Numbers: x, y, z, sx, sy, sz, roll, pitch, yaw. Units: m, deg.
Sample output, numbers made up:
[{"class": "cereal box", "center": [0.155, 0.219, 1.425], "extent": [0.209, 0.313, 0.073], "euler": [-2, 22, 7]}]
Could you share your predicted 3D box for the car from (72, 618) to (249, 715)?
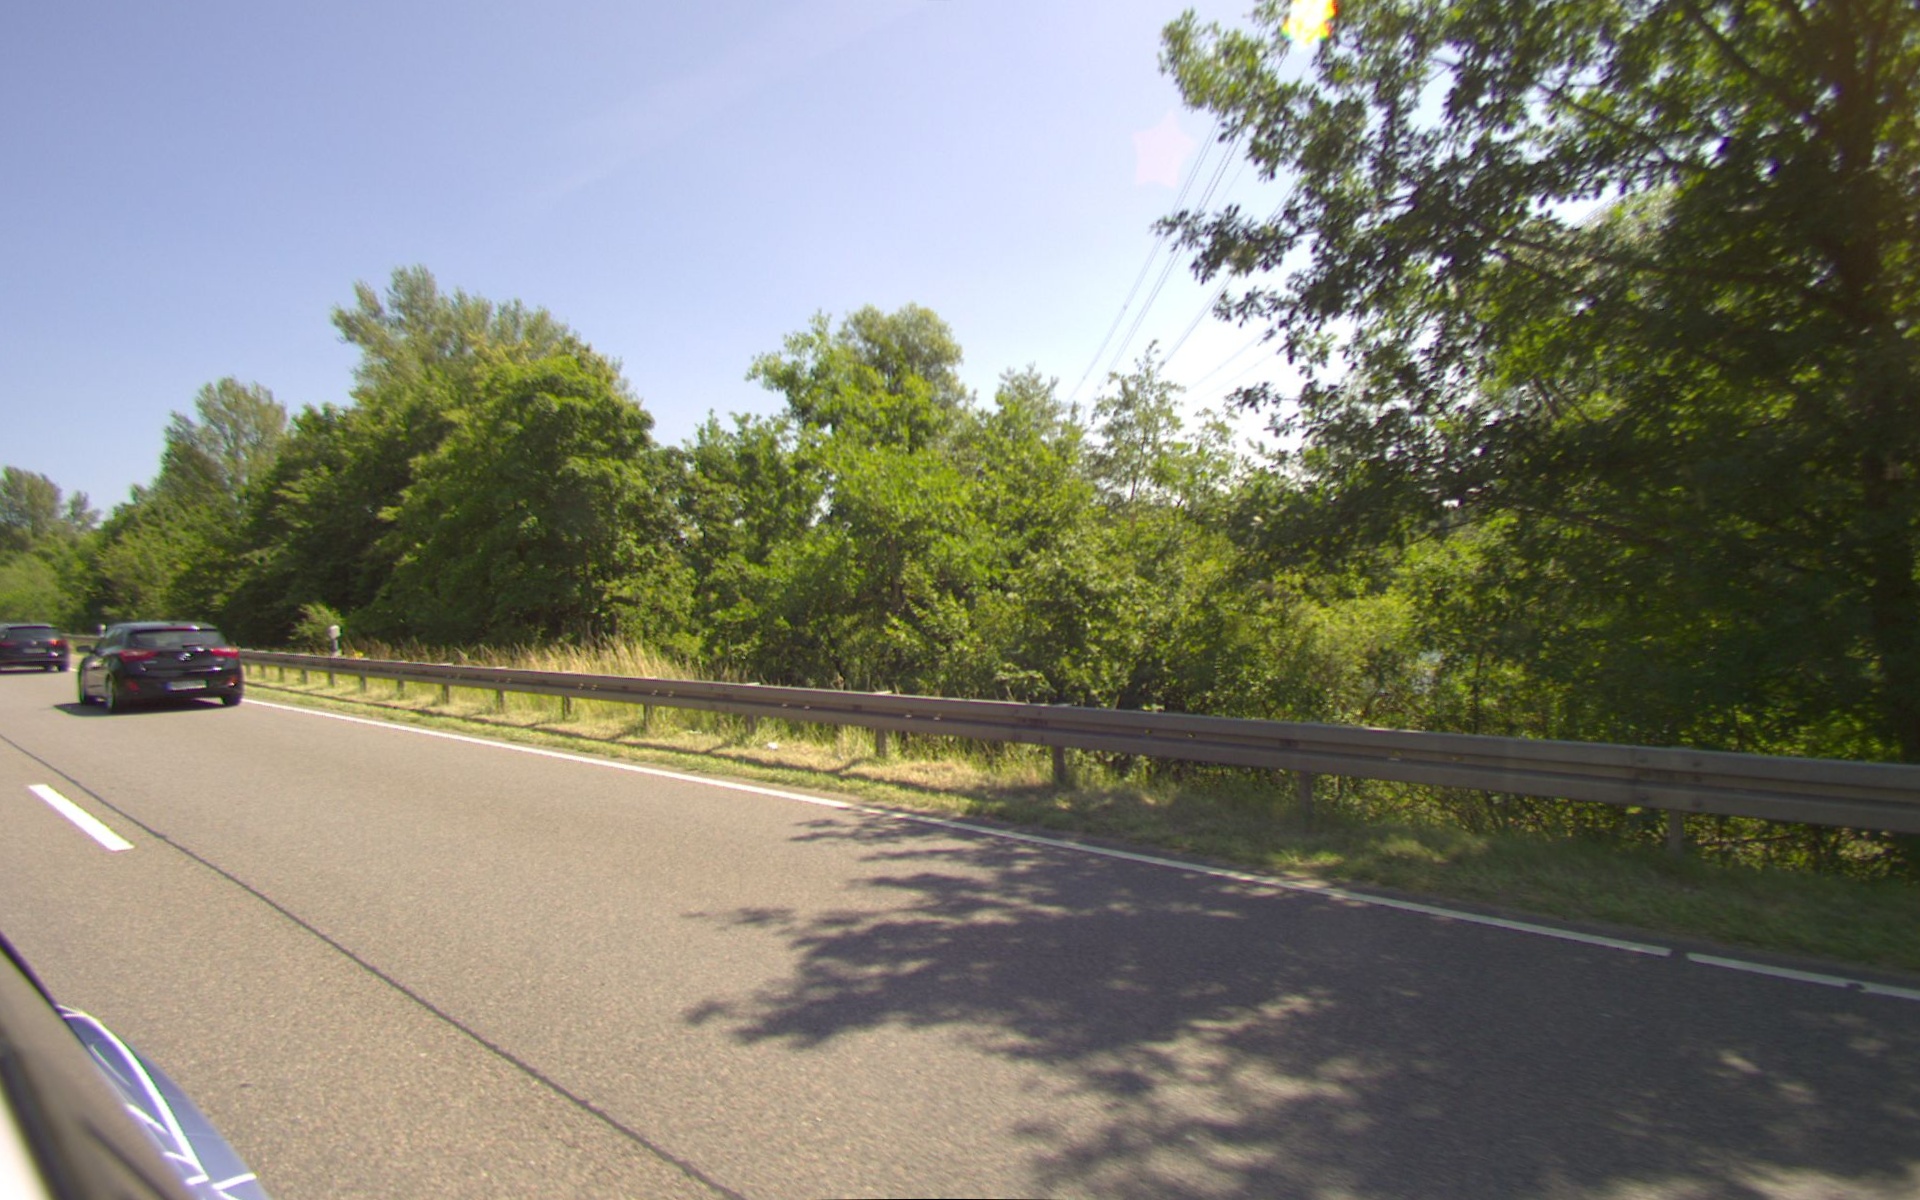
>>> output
[{"class": "car", "center": [-13.970, 1.077, 17.609], "extent": [3.999, 1.465, 1.782], "euler": [-1, -1, 42]}]

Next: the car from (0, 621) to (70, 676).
[{"class": "car", "center": [-28.130, 1.420, 30.253], "extent": [3.999, 1.509, 1.825], "euler": [-1, -1, 42]}]
